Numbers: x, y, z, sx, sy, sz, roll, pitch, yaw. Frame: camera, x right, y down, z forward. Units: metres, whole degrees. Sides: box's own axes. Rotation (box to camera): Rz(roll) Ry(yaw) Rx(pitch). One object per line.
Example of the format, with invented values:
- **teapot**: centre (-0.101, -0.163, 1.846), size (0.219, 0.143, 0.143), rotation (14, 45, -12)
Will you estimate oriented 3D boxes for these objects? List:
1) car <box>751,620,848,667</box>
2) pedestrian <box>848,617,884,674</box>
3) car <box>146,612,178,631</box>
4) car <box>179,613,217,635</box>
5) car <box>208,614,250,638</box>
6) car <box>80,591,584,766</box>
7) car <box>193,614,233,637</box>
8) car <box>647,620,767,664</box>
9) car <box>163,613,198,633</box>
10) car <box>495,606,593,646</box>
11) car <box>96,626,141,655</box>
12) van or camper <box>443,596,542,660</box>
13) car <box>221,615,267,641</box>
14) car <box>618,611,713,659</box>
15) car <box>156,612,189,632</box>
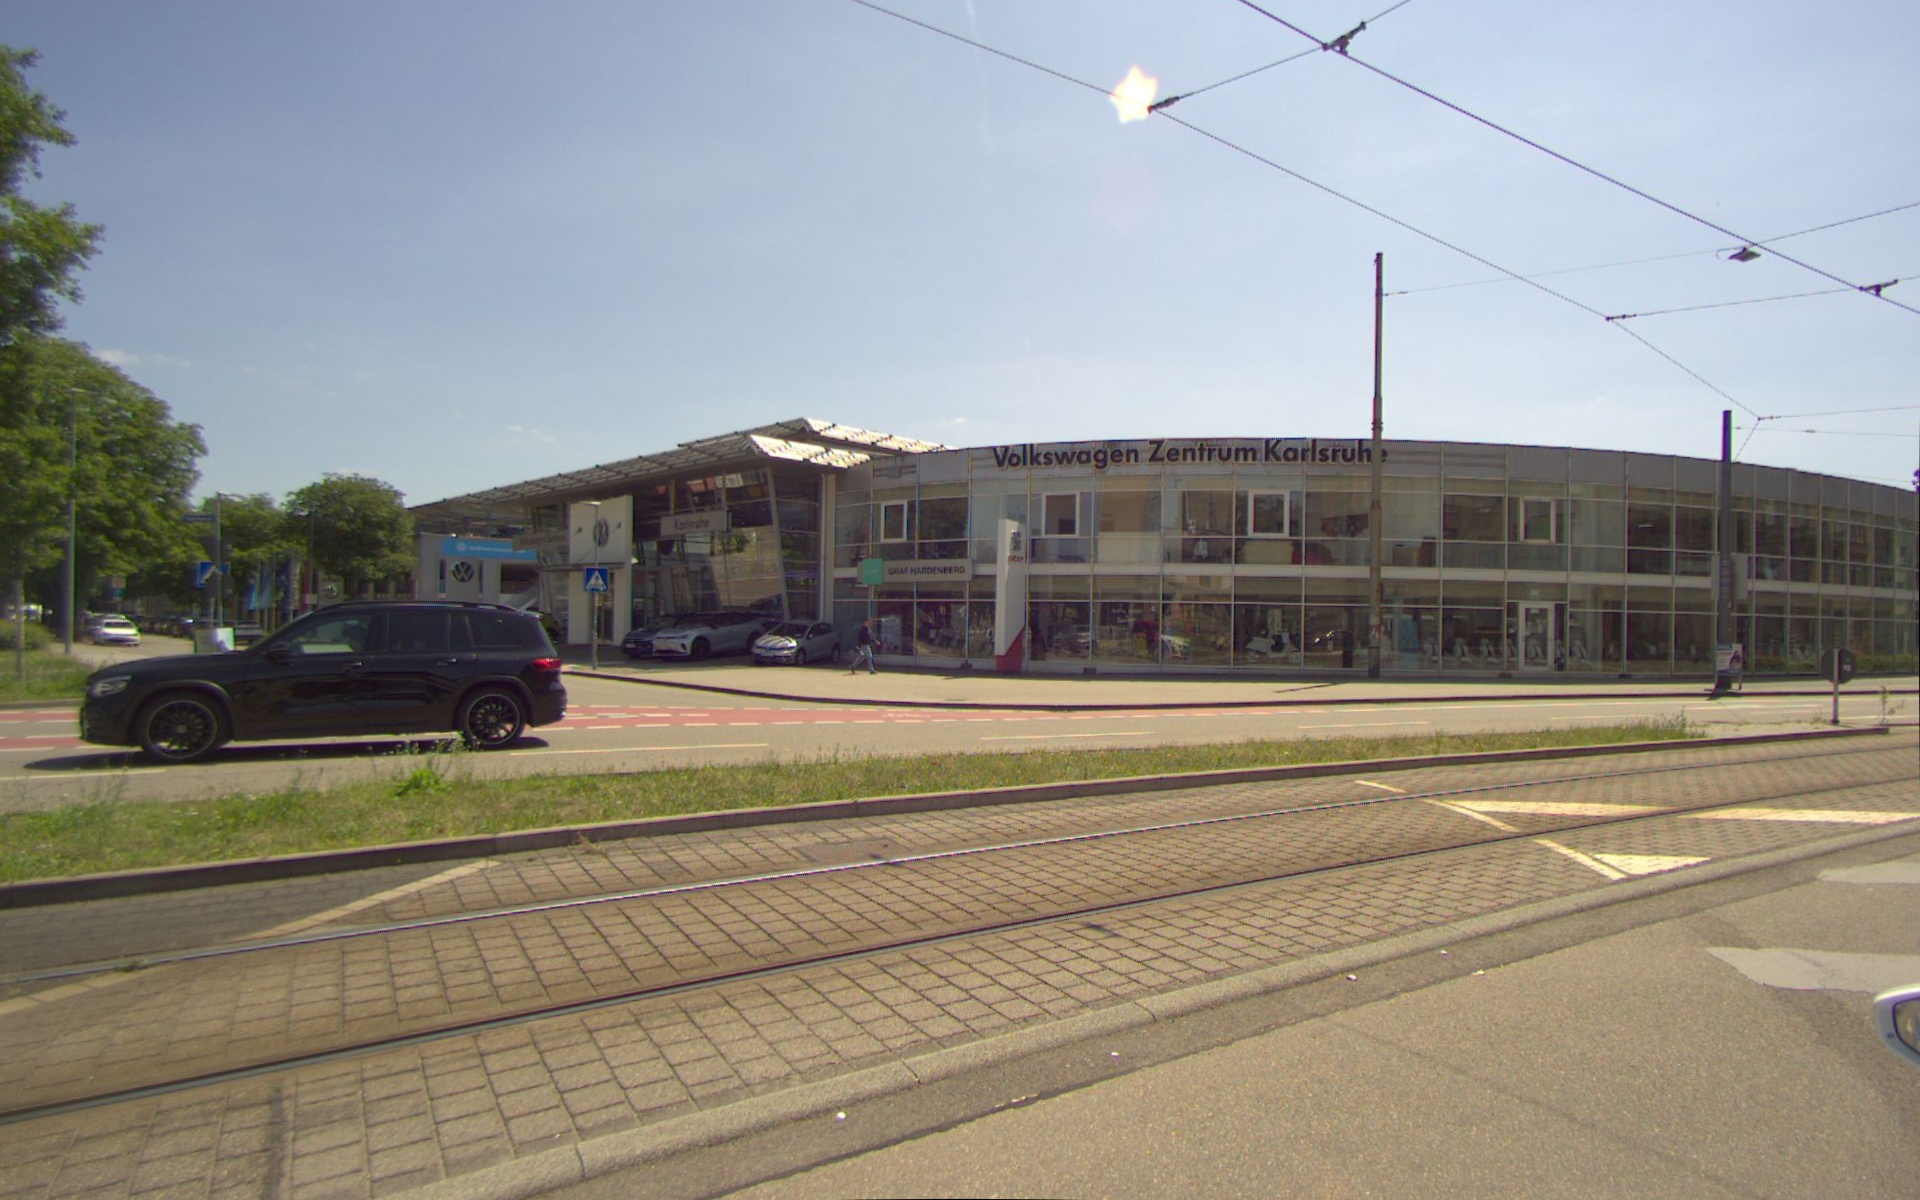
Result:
- **car**: centre (-5.461, 1.472, 34.696), size (1.473, 1.476, 4.056), rotation (1, -1, 20)
- **pedestrian**: centre (-2.812, 1.344, 30.020), size (0.811, 1.664, 0.724), rotation (2, -1, -31)
- **car**: centre (-70.395, 1.860, 88.552), size (1.818, 1.578, 3.948), rotation (2, -2, -44)
- **car**: centre (-58.056, 1.831, 76.481), size (1.818, 1.578, 3.948), rotation (2, -2, -44)
- **car**: centre (-50.525, 1.822, 69.430), size (1.818, 1.578, 3.948), rotation (2, -2, -44)
- **car**: centre (-6.796, 0.825, 11.390), size (4.474, 1.648, 1.813), rotation (2, -3, -32)
- **car**: centre (-54.037, 1.825, 72.655), size (1.818, 1.578, 3.948), rotation (2, -2, -44)
- **car**: centre (-8.865, 1.447, 35.505), size (1.584, 1.439, 4.179), rotation (0, -1, 31)
- **car**: centre (-62.787, 1.837, 80.868), size (1.818, 1.578, 3.948), rotation (2, -2, -44)
- **car**: centre (-20.160, 1.251, 48.817), size (1.638, 1.857, 4.076), rotation (0, -2, 43)
- **car**: centre (-46.384, 2.197, 55.357), size (3.946, 1.452, 1.535), rotation (0, -1, 45)
- **van or camper**: centre (-23.098, 1.364, 49.726), size (1.973, 3.043, 3.976), rotation (0, -1, 44)
- **car**: centre (-45.866, 1.799, 64.334), size (1.818, 1.578, 3.948), rotation (2, -2, -44)
- **car**: centre (-10.800, 1.274, 37.021), size (1.402, 1.639, 3.327), rotation (1, -1, 27)
- **car**: centre (-66.538, 1.853, 84.846), size (1.818, 1.578, 3.948), rotation (2, -2, -44)
